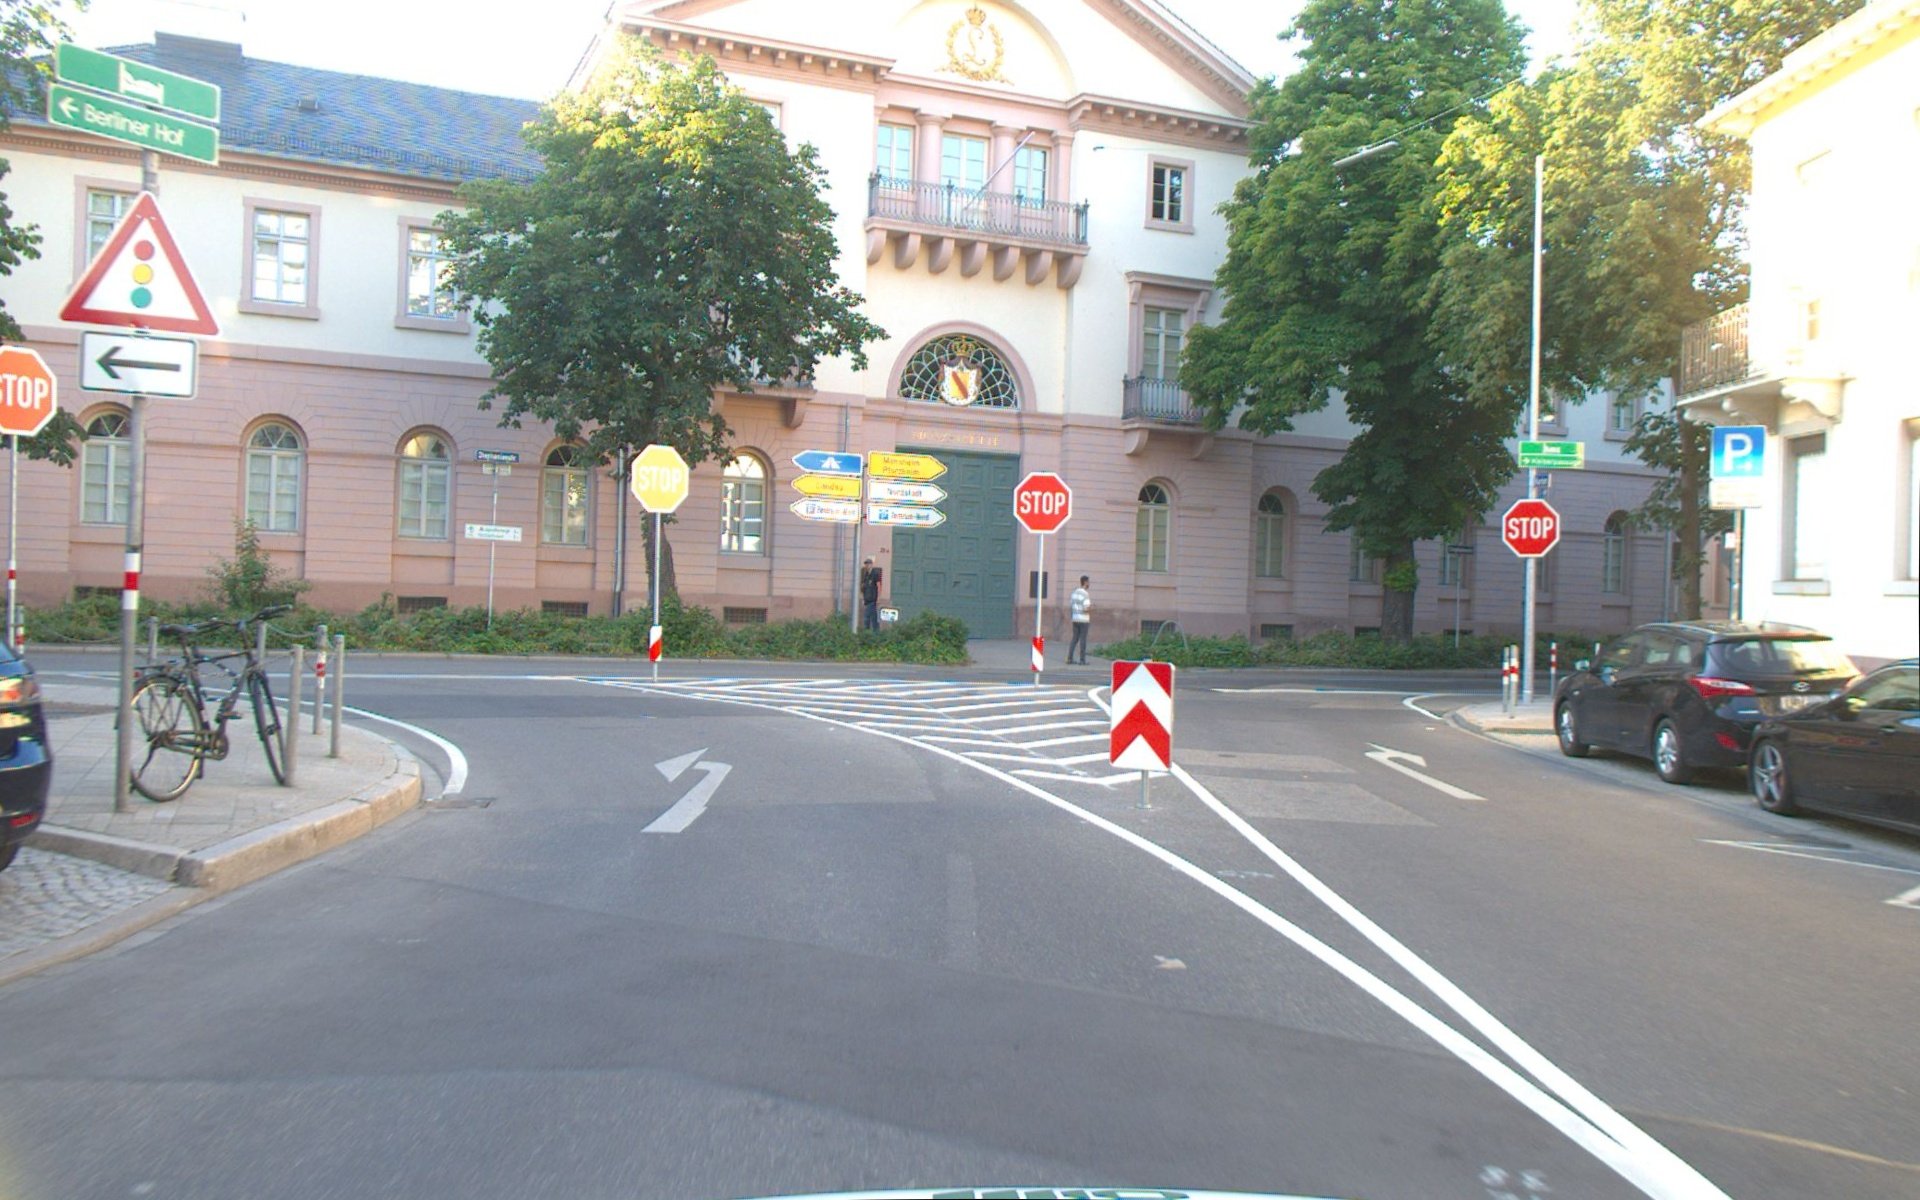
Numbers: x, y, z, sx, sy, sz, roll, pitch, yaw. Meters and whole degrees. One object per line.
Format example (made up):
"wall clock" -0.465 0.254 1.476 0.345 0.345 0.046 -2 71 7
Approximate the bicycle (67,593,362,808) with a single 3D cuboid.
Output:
"bicycle" -4.509 0.566 10.168 0.710 1.145 1.805 4 0 8

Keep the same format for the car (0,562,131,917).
"car" -5.933 0.462 7.604 3.775 1.486 1.740 5 1 24

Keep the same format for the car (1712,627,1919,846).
"car" 7.491 1.005 12.200 1.736 1.419 4.859 2 0 2

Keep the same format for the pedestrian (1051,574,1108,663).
"pedestrian" 2.552 0.397 35.359 0.915 1.864 0.794 2 0 -27

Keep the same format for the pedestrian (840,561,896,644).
"pedestrian" -2.131 0.064 38.266 1.064 1.871 0.795 2 0 -23

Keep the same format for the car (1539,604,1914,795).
"car" 7.611 0.891 16.965 1.764 1.568 4.431 2 1 0
